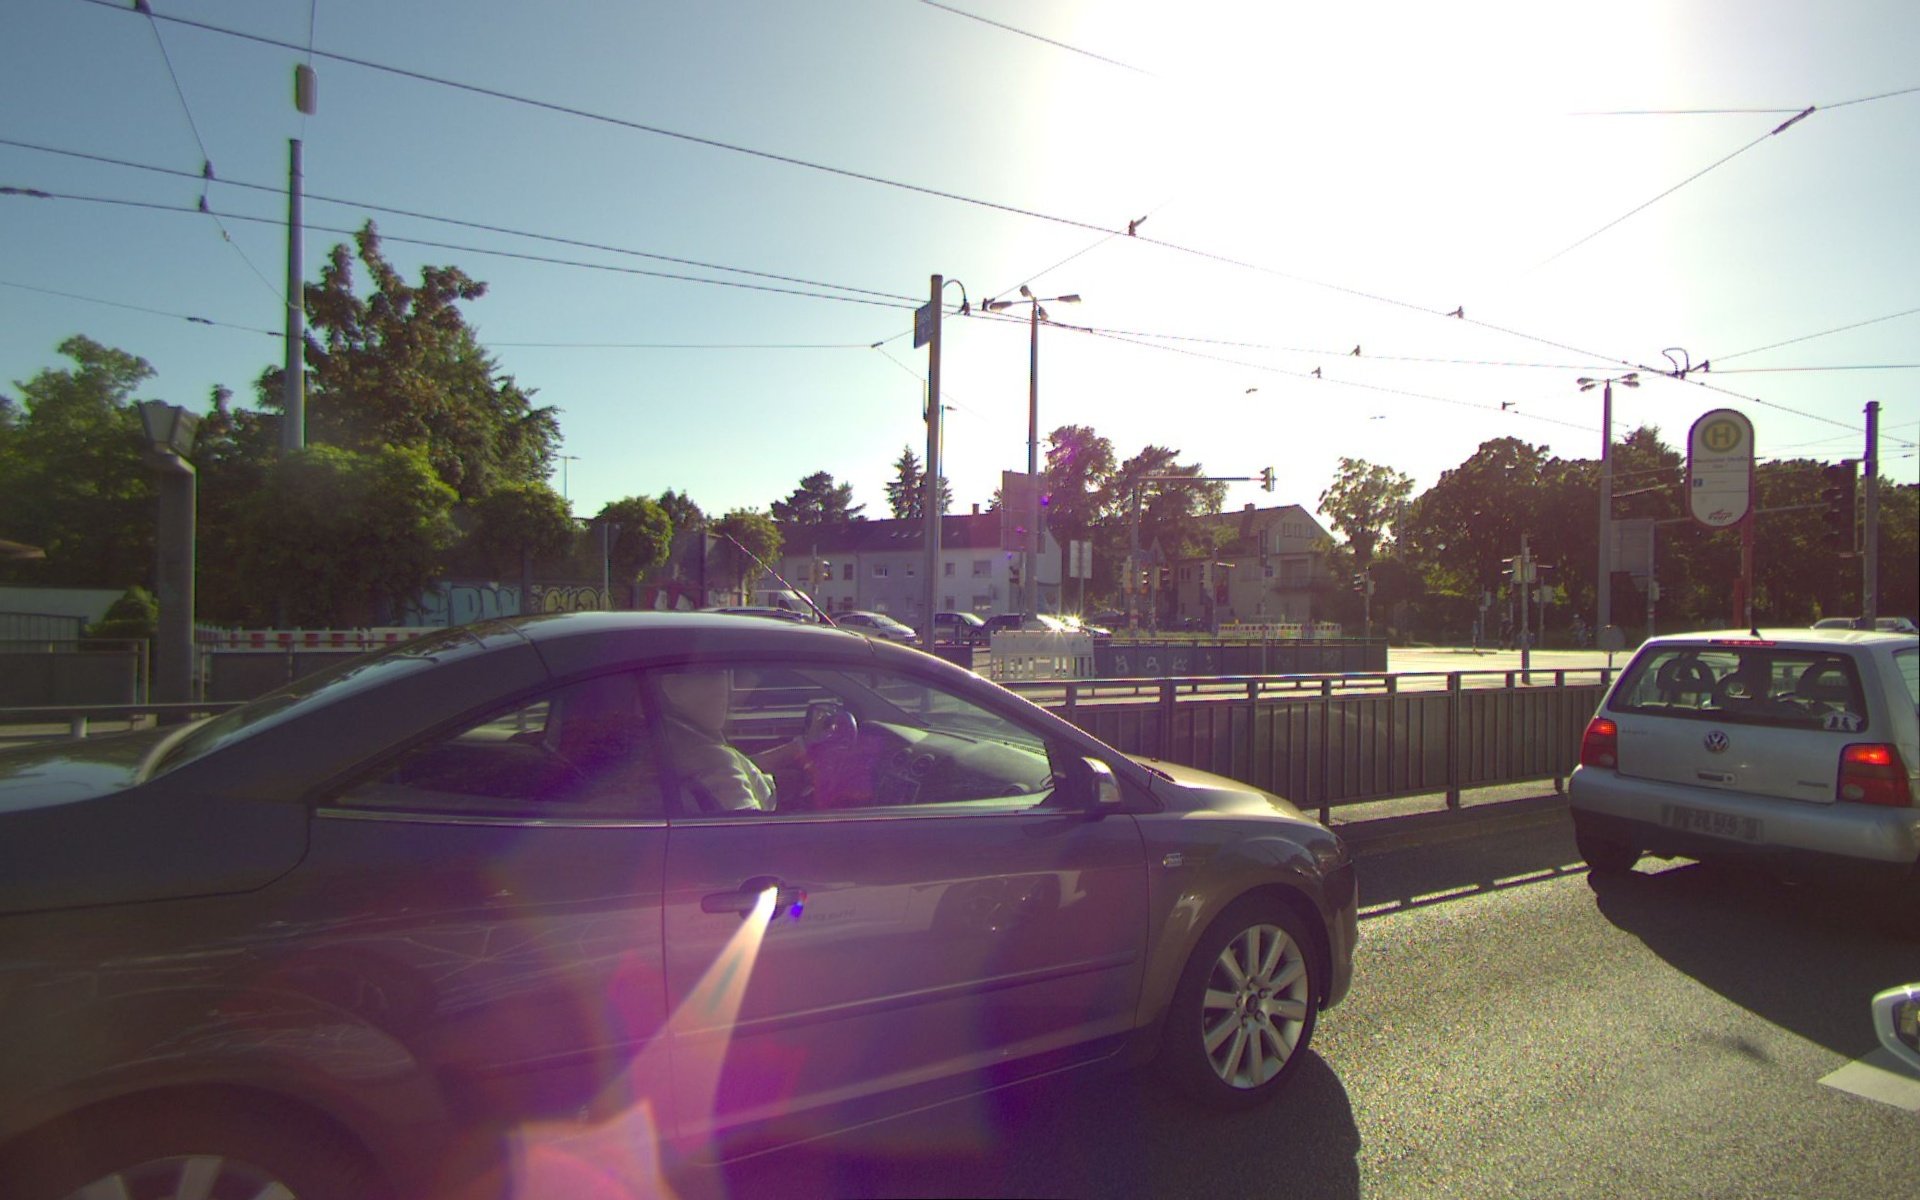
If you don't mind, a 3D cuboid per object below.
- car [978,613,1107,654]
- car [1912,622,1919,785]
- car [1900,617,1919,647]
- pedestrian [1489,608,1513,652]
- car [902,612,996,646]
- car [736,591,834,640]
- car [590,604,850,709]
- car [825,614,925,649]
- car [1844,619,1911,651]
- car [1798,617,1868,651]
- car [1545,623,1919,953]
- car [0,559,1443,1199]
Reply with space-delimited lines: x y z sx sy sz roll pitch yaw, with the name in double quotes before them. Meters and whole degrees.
"car" 3.178 1.272 39.213 4.754 1.517 1.781 0 -1 34
"car" 10.776 0.995 9.451 4.038 1.476 1.611 2 0 -31
"car" 54.278 1.788 56.056 4.712 1.626 1.978 1 1 -38
"pedestrian" 25.158 1.381 46.710 0.785 2.040 0.741 1 -1 -42
"car" -0.521 1.307 45.814 4.104 1.451 1.589 0 -1 34
"car" -9.173 0.818 52.474 4.995 2.434 2.132 0 -1 34
"car" -3.962 0.884 16.818 3.941 1.564 1.578 1 -1 -34
"car" -3.708 1.353 43.720 4.104 1.451 1.846 0 -1 34
"car" 47.319 1.770 51.790 4.245 1.568 1.819 1 -1 -37
"car" 42.435 1.645 48.802 3.963 1.568 1.819 1 -1 -37
"car" 5.204 0.882 5.965 3.312 1.436 1.611 2 -2 -31
"car" -0.688 0.705 2.959 4.284 1.469 1.766 1 -1 -31
